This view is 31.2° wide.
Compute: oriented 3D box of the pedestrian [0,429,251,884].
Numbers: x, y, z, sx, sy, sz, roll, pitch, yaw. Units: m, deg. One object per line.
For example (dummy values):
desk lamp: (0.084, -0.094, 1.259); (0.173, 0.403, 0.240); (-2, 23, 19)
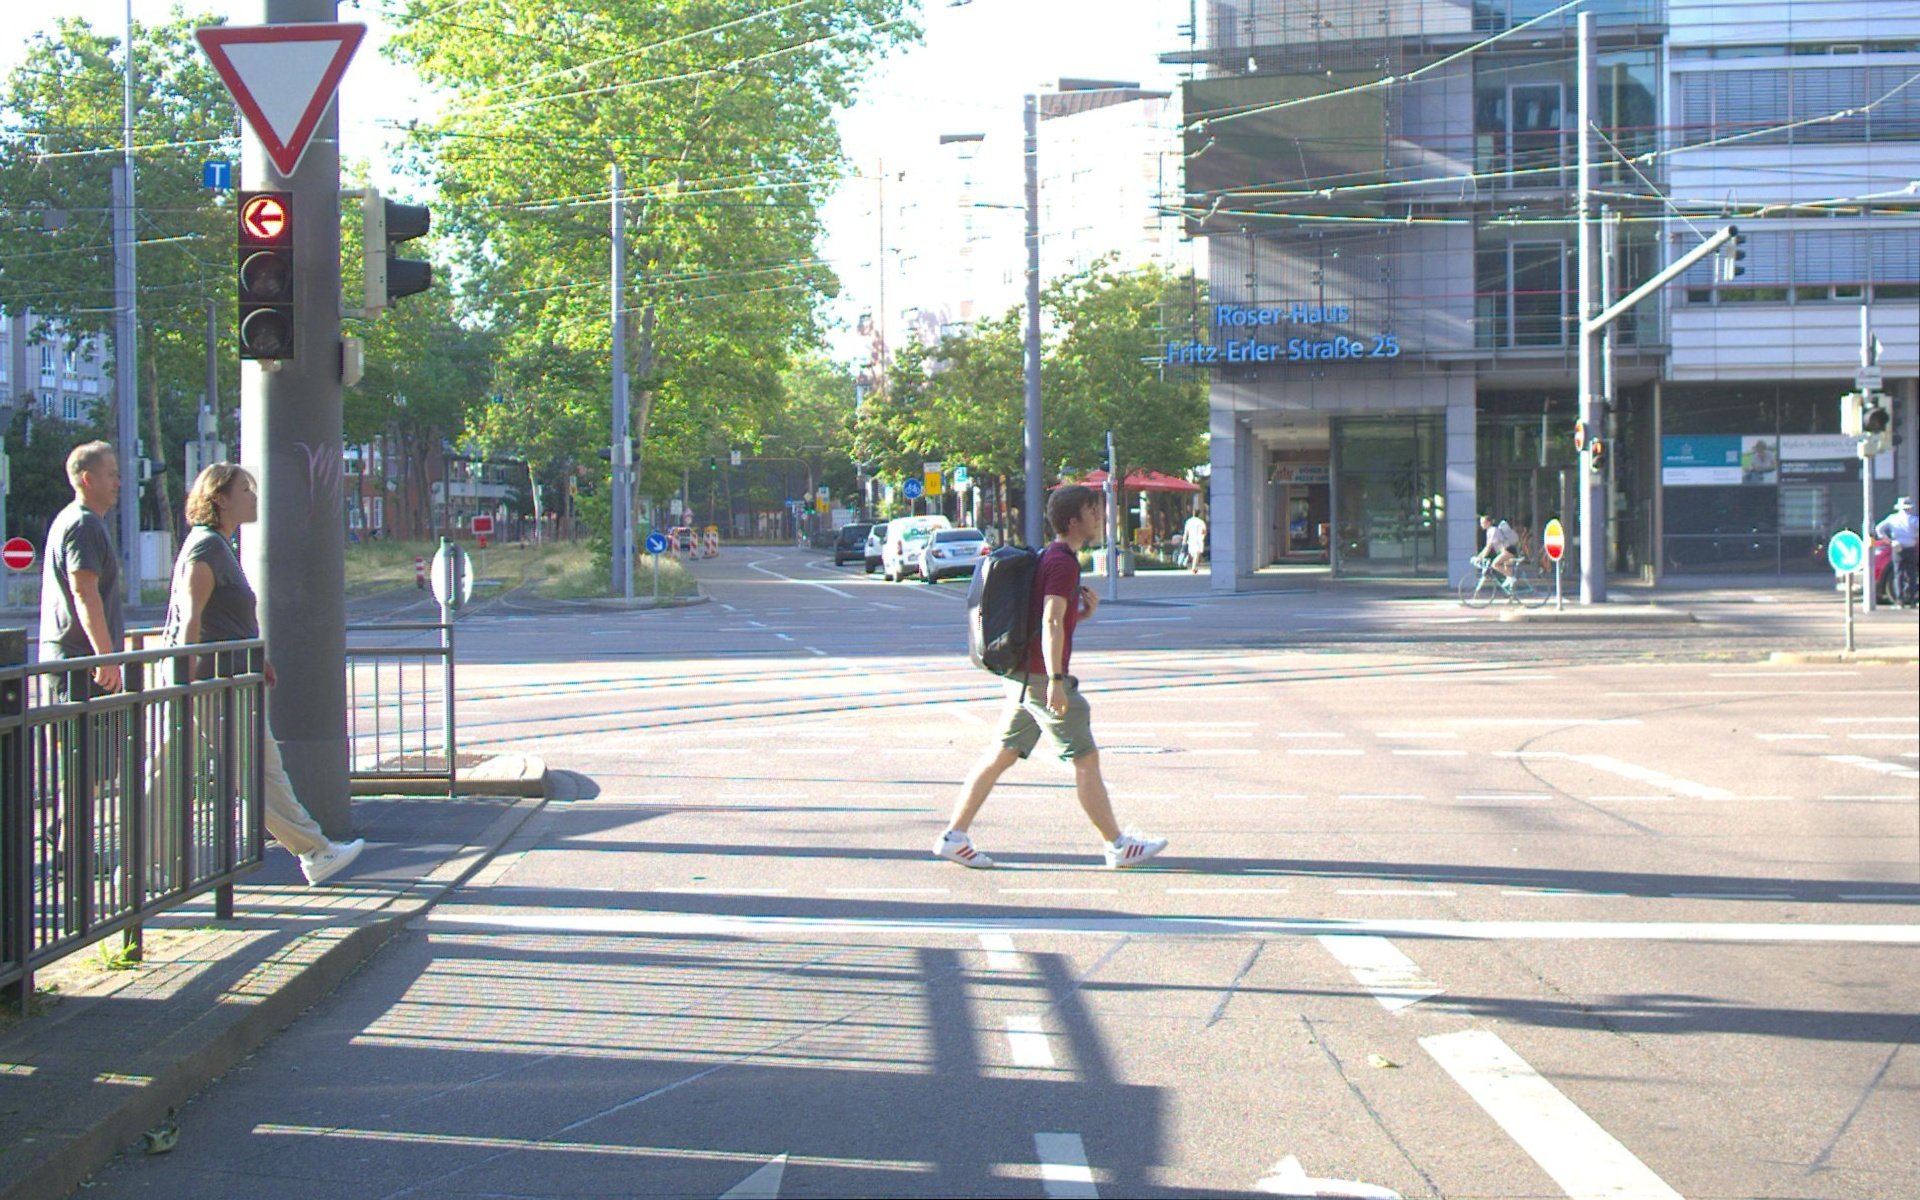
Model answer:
pedestrian: (-3.649, 0.231, 14.701); (1.145, 1.887, 0.833); (0, 1, -8)

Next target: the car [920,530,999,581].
car: (-0.043, -1.208, 92.095); (1.993, 1.327, 4.001); (-1, 1, -2)

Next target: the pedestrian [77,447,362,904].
pedestrian: (-2.994, 0.296, 13.981); (1.071, 1.800, 0.758); (0, 1, -8)

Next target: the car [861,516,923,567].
car: (-2.282, -1.958, 114.238); (1.993, 1.656, 4.001); (-1, 1, -2)

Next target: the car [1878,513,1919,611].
car: (17.603, -0.671, 57.125); (4.241, 1.596, 1.795); (-1, 1, 4)

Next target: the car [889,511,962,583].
car: (-1.015, -1.532, 98.858); (1.993, 1.985, 4.001); (-1, 1, -2)

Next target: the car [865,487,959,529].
car: (-2.104, -4.030, 150.411); (3.763, 1.744, 1.781); (1, 1, 13)

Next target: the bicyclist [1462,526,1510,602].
bicyclist: (9.602, -0.659, 62.772); (0.819, 1.362, 0.400); (-1, 1, 5)

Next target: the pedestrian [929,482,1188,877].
pedestrian: (0.427, 0.344, 15.274); (1.073, 1.709, 0.628); (0, 1, -5)

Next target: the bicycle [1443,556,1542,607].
bicycle: (9.719, -0.334, 62.772); (1.741, 0.896, 0.409); (-1, 1, 4)

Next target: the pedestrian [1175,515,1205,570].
pedestrian: (6.194, -1.560, 92.598); (0.739, 1.460, 0.537); (-1, 1, -3)

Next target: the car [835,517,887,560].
car: (-3.896, -2.431, 135.886); (1.993, 1.656, 4.001); (-1, 1, -2)

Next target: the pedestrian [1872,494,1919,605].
pedestrian: (14.279, -0.771, 52.220); (0.720, 1.676, 0.557); (1, 1, 6)
